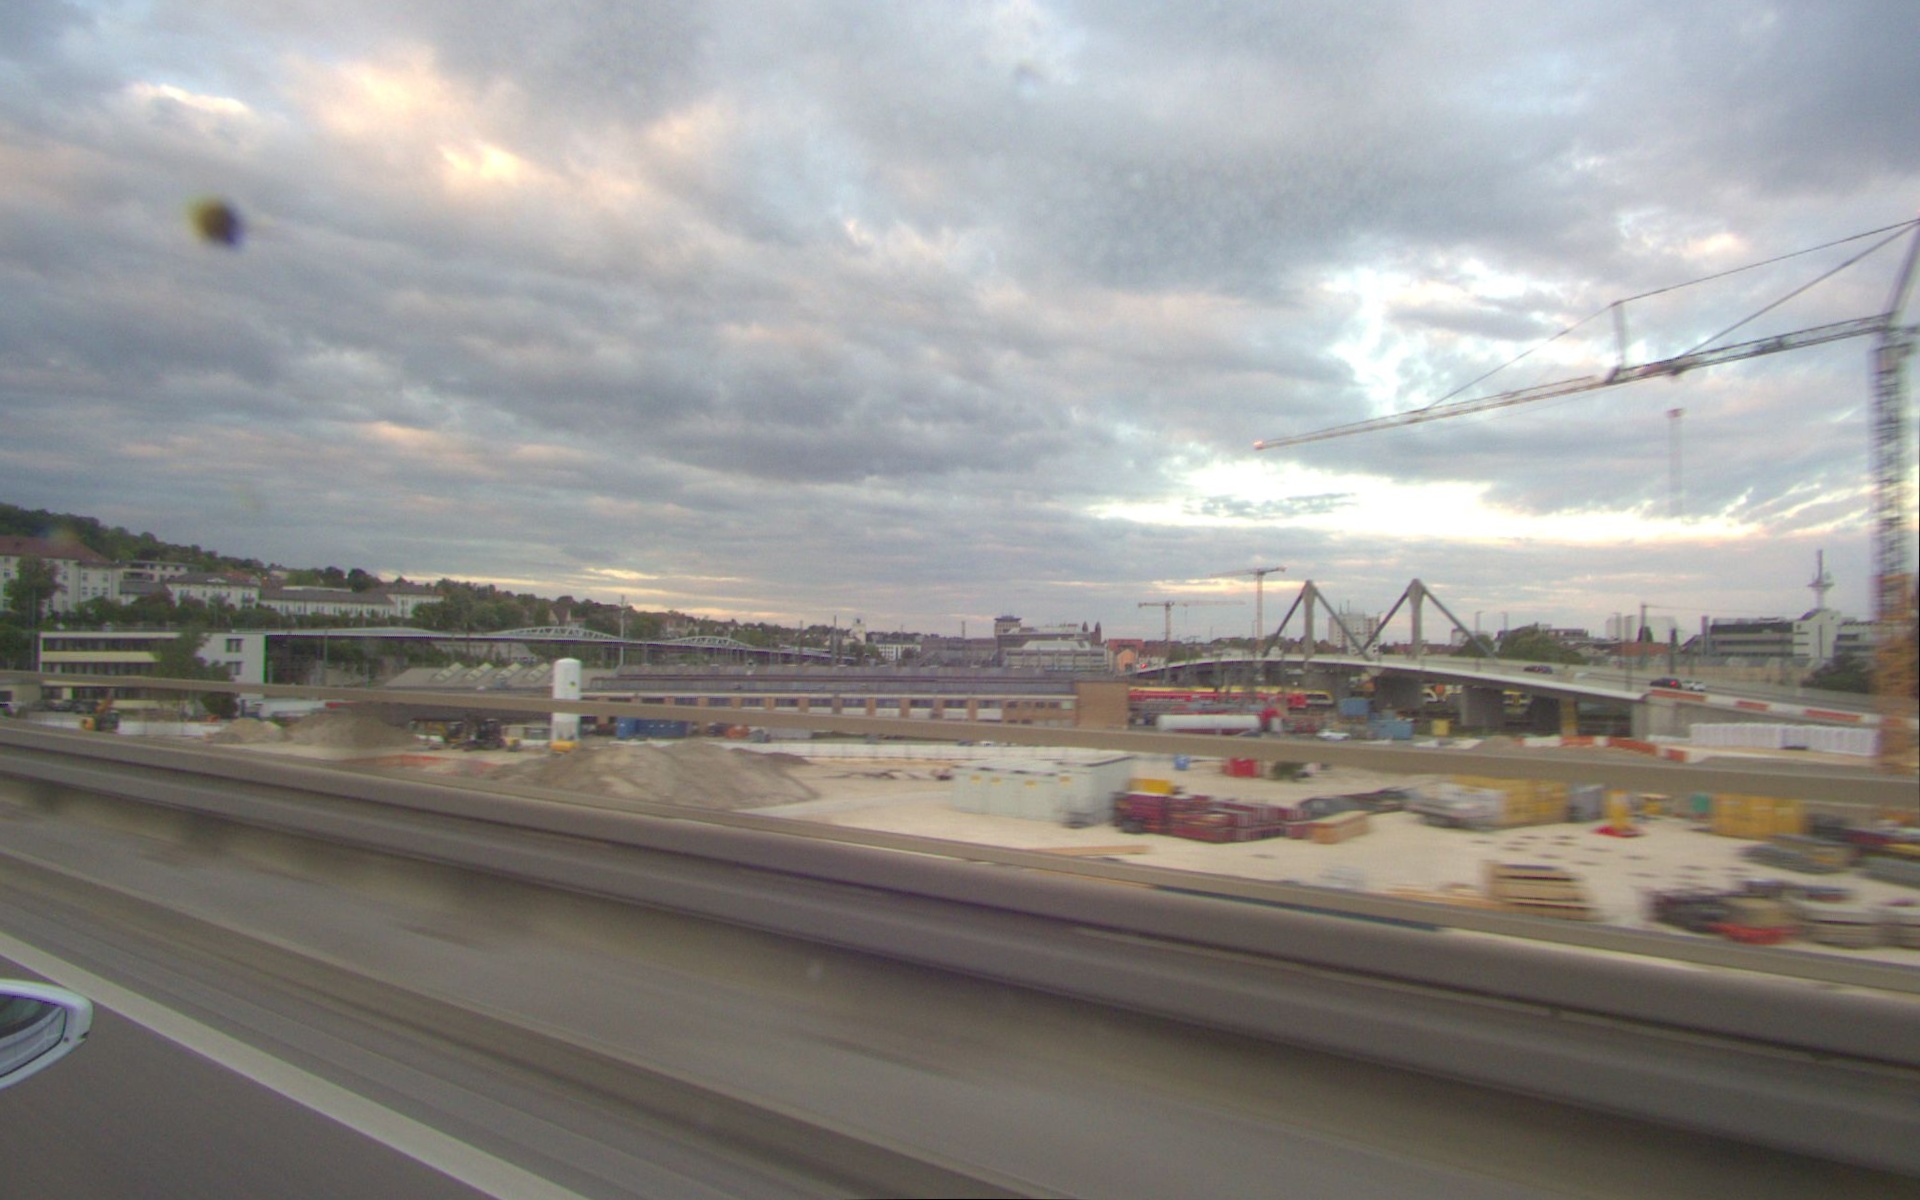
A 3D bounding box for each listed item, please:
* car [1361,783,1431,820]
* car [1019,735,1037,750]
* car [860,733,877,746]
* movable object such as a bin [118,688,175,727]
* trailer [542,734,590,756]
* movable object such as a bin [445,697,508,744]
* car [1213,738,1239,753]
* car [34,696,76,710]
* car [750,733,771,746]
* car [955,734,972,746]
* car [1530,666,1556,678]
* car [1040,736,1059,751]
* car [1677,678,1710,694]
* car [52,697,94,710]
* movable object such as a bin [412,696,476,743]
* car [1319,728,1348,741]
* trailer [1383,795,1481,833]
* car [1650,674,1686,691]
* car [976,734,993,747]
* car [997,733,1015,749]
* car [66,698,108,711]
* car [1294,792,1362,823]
[{"bbox_3d":[28.198,13.016,64.851,1.664,1.942,3.982,8,-8,-30],"label":"car"},{"bbox_3d":[8.542,17.919,126.019,1.835,1.669,4.010,4,-7,-1],"label":"car"},{"bbox_3d":[-11.563,17.679,126.730,1.835,1.435,4.010,4,-8,-1],"label":"car"},{"bbox_3d":[-99.116,13.102,122.030,4.867,4.356,2.787,1,-7,18],"label":"movable object such as a bin"},{"bbox_3d":[-36.821,13.542,93.567,3.779,1.823,2.000,1,-7,23],"label":"trailer"},{"bbox_3d":[-48.464,12.110,100.538,2.733,4.356,4.965,1,-8,15],"label":"movable object such as a bin"},{"bbox_3d":[33.561,18.379,126.438,1.835,1.539,4.348,1,-4,-6],"label":"car"},{"bbox_3d":[-117.933,13.407,130.544,1.797,1.583,4.006,5,-6,-4],"label":"car"},{"bbox_3d":[-25.336,17.676,127.158,1.835,1.435,4.010,4,-8,-1],"label":"car"},{"bbox_3d":[0.437,17.699,126.842,1.835,1.435,4.010,4,-8,-1],"label":"car"},{"bbox_3d":[100.813,12.378,173.122,1.743,1.761,3.999,5,-1,-5],"label":"car"},{"bbox_3d":[11.176,18.038,125.645,1.835,1.669,4.010,4,-7,-1],"label":"car"},{"bbox_3d":[102.967,12.076,140.679,1.565,1.761,3.705,5,-1,-5],"label":"car"},{"bbox_3d":[-114.833,13.379,129.671,1.797,1.583,4.006,5,-6,-4],"label":"car"},{"bbox_3d":[-52.135,12.134,101.324,2.733,4.356,4.965,1,-8,15],"label":"movable object such as a bin"},{"bbox_3d":[52.361,18.859,140.282,3.619,1.593,1.440,6,-7,-11],"label":"car"},{"bbox_3d":[23.980,10.854,51.004,1.761,1.256,4.230,4,-4,-31],"label":"trailer"},{"bbox_3d":[100.069,11.704,141.606,1.962,2.039,4.000,5,-2,-5],"label":"car"},{"bbox_3d":[3.089,17.784,126.524,1.835,1.435,4.010,4,-8,-1],"label":"car"},{"bbox_3d":[5.835,17.817,126.652,1.835,1.733,4.010,4,-7,-1],"label":"car"},{"bbox_3d":[-111.268,13.311,127.680,1.797,1.583,4.006,5,-6,-4],"label":"car"},{"bbox_3d":[22.249,12.552,60.640,1.510,1.457,3.780,8,-8,-30],"label":"car"}]
